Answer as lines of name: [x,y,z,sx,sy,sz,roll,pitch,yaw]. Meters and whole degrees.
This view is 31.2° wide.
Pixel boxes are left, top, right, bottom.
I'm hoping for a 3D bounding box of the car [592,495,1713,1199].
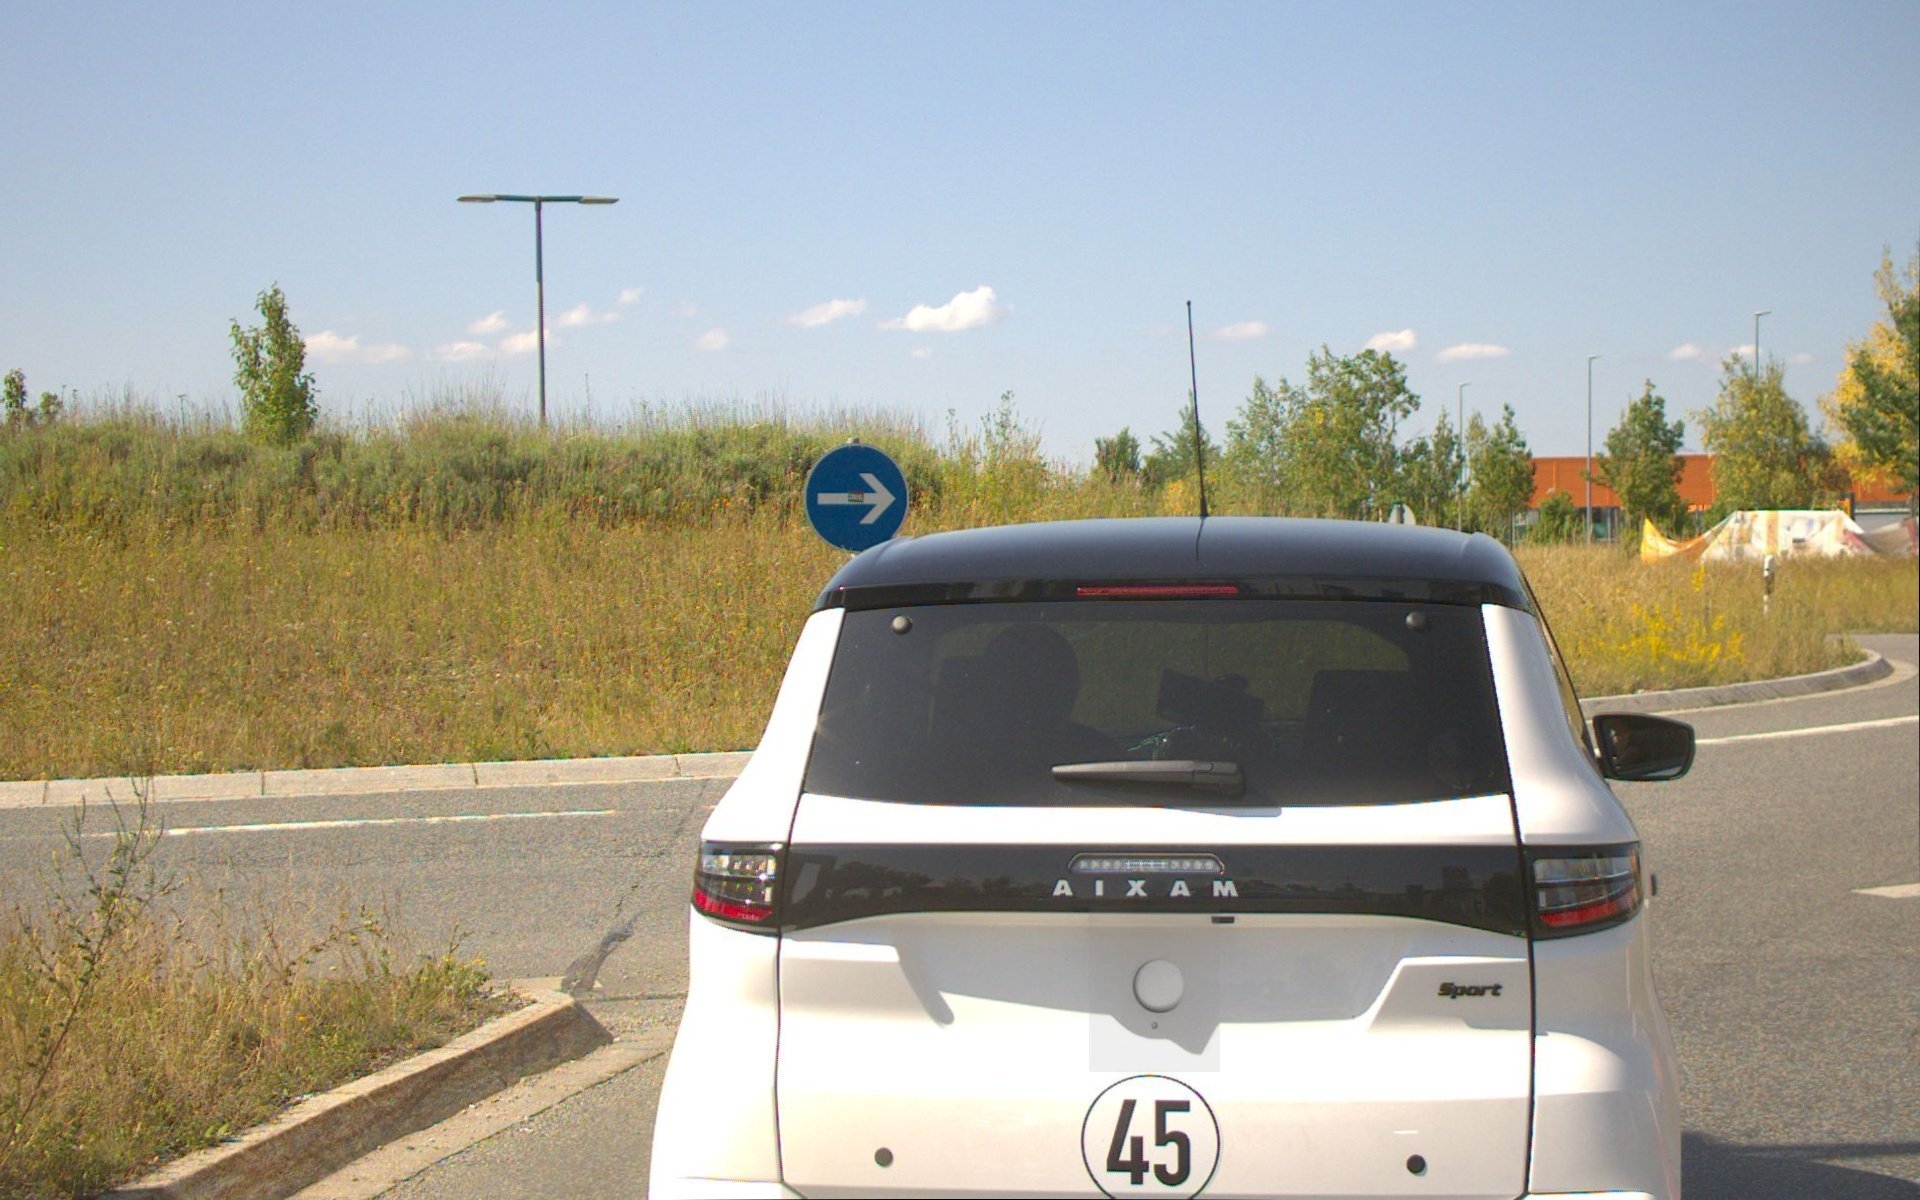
car: [0.504,0.562,6.296,1.510,1.435,3.350,0,3,9]
